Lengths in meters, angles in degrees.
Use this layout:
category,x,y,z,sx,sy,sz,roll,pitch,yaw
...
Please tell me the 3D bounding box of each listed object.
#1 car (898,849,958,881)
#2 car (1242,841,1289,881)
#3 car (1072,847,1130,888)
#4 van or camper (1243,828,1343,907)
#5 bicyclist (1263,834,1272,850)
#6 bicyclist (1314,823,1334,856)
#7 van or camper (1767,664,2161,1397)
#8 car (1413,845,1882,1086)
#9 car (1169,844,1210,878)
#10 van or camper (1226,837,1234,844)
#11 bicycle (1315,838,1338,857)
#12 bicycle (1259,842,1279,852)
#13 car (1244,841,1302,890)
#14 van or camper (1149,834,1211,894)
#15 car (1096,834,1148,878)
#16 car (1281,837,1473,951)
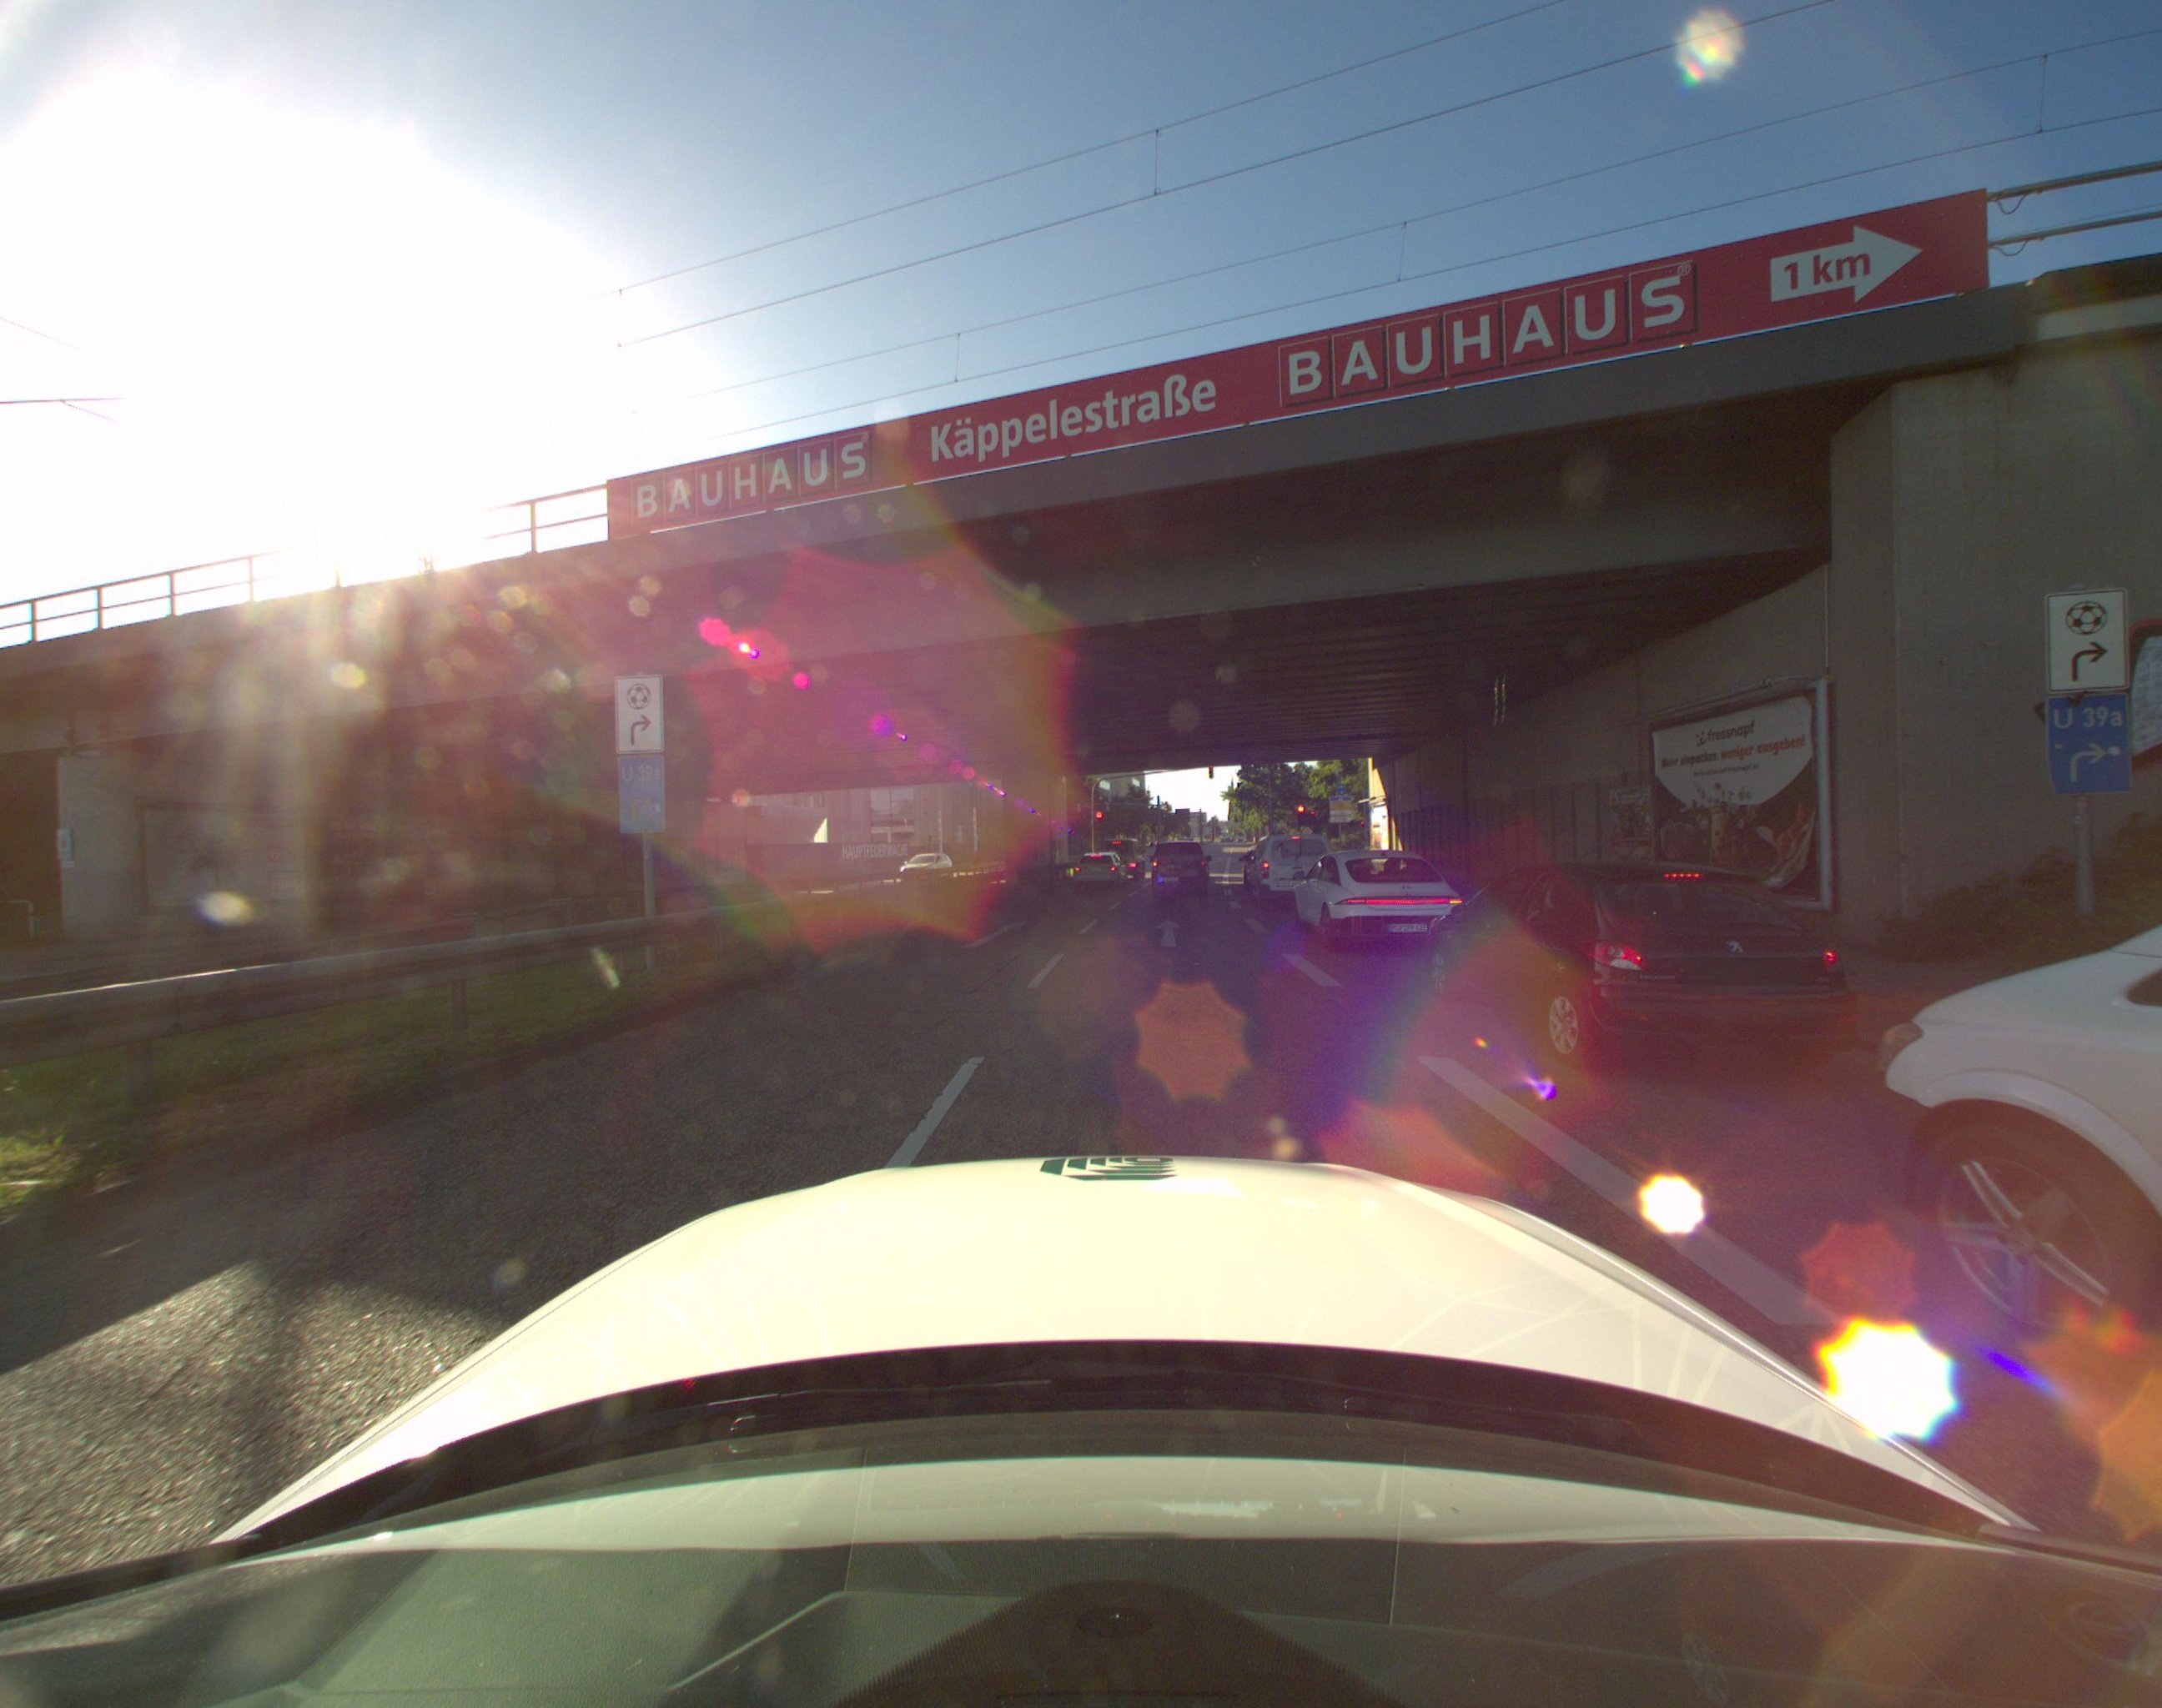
category,x,y,z,sx,sy,sz,roll,pitch,yaw
car,-8.334,0.554,44.758,1.771,1.645,4.214,-1,0,11
car,7.498,0.263,33.385,1.697,1.520,3.754,-2,0,10
car,0.845,0.491,31.939,1.697,1.452,3.754,-2,0,10
van or camper,5.283,0.306,20.864,1.816,1.791,4.553,-1,0,6
bicyclist,20.289,-1.298,88.577,0.916,1.584,0.773,-4,-1,14
bicyclist,12.174,-0.739,40.873,0.747,1.584,0.927,-4,-1,9
van or camper,3.672,0.452,0.810,1.951,1.883,4.883,-3,2,2
car,4.188,0.666,6.803,1.596,1.434,3.684,-1,1,5
car,5.292,0.317,39.335,1.752,1.475,4.301,-2,0,10
van or camper,43.938,-4.024,239.504,1.772,1.863,3.925,-4,0,16
bicycle,12.307,-0.321,40.920,0.768,0.893,2.001,-4,0,8
bicycle,20.433,-0.726,88.558,1.975,0.960,0.777,-4,0,14
car,6.480,0.364,27.720,1.697,1.522,3.754,-2,0,10
van or camper,3.364,0.305,27.018,1.743,1.813,3.970,-2,0,10
car,2.043,0.080,39.372,1.854,1.947,4.610,-2,0,10
car,4.500,0.544,13.102,1.755,1.475,4.294,-2,0,4
